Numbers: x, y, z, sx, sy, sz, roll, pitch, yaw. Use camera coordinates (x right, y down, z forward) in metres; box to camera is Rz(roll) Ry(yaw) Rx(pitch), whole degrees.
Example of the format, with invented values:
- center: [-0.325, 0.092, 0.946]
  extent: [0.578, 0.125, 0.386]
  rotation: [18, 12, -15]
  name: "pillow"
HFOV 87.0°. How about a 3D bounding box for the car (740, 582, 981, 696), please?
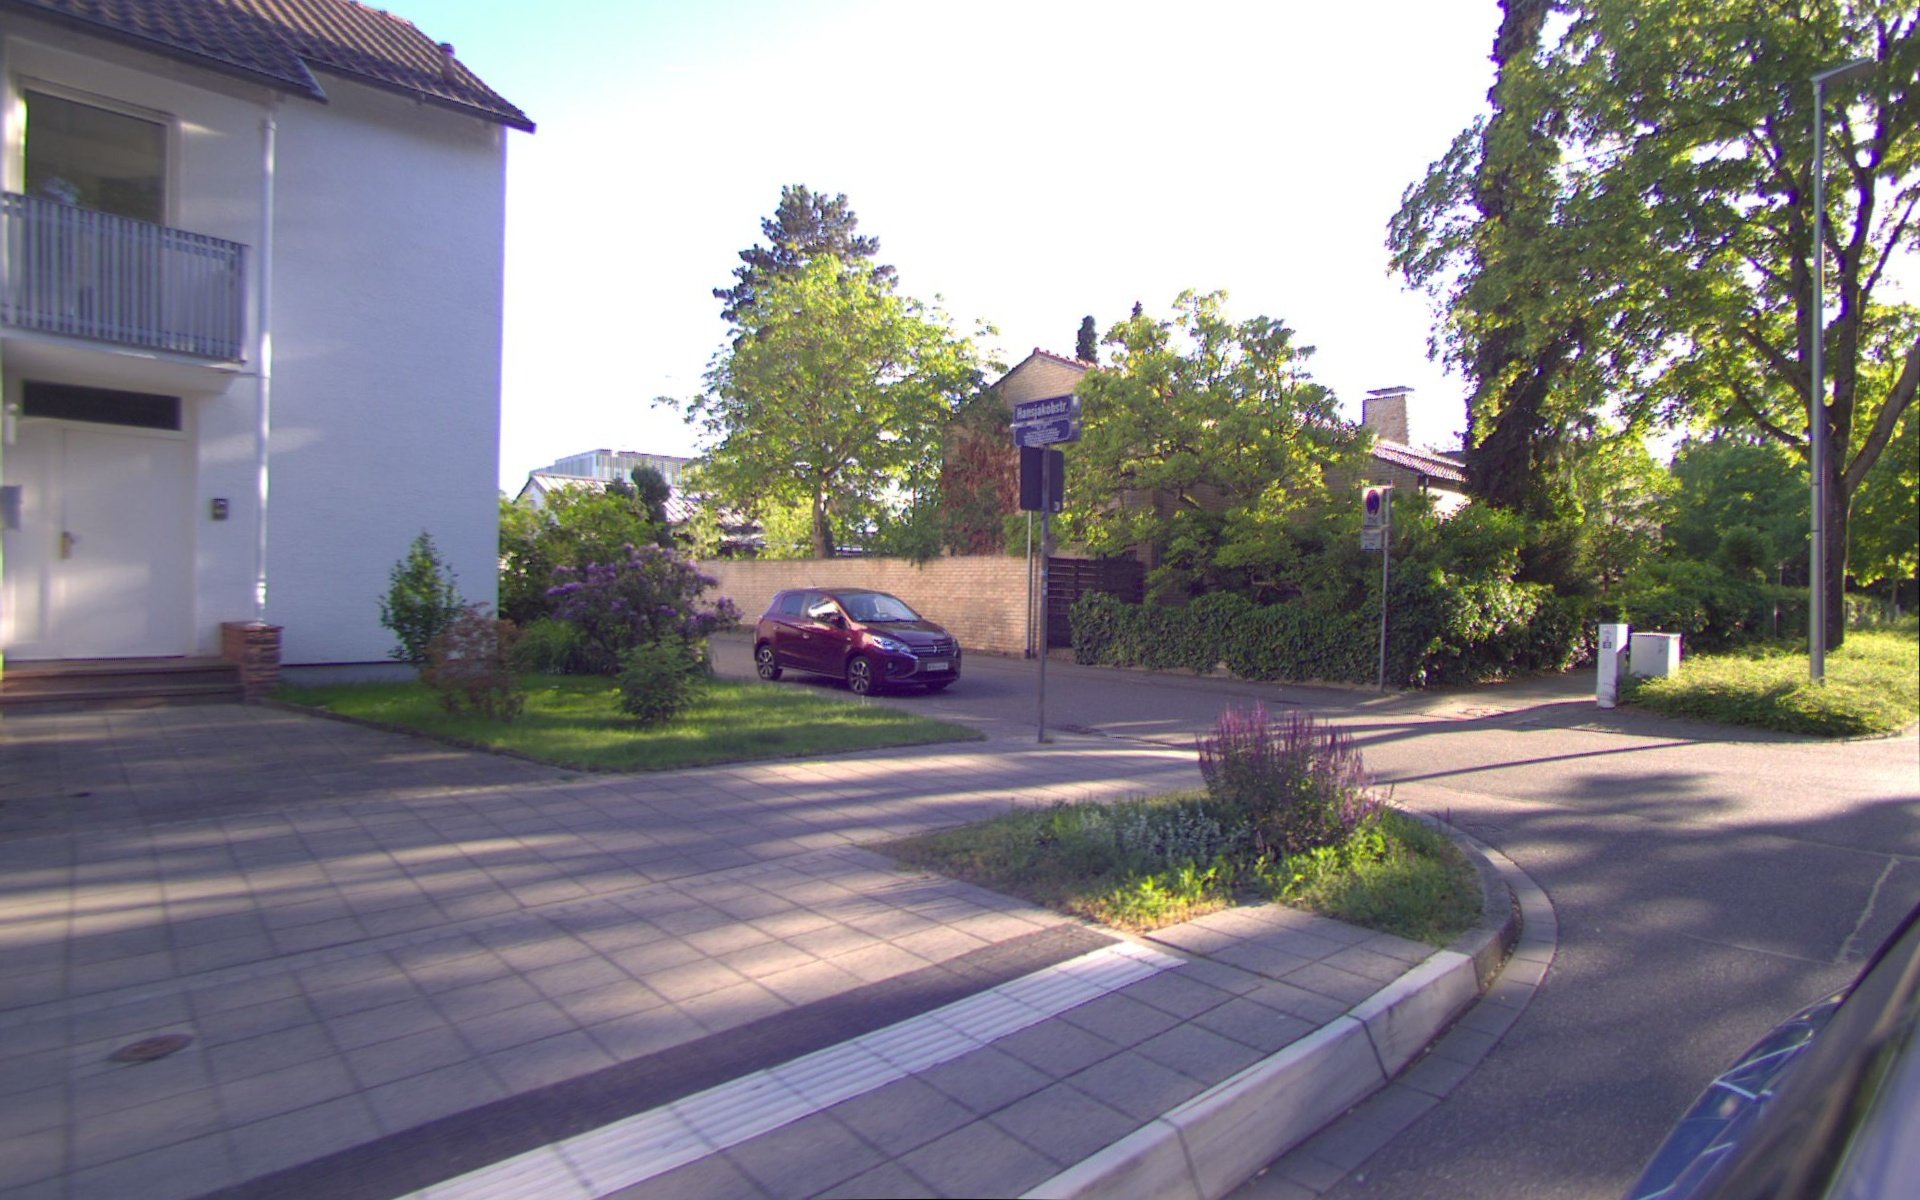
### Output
- center: [-1.608, 0.508, 15.489]
  extent: [3.732, 1.520, 1.664]
  rotation: [1, 0, 44]
  name: "car"
